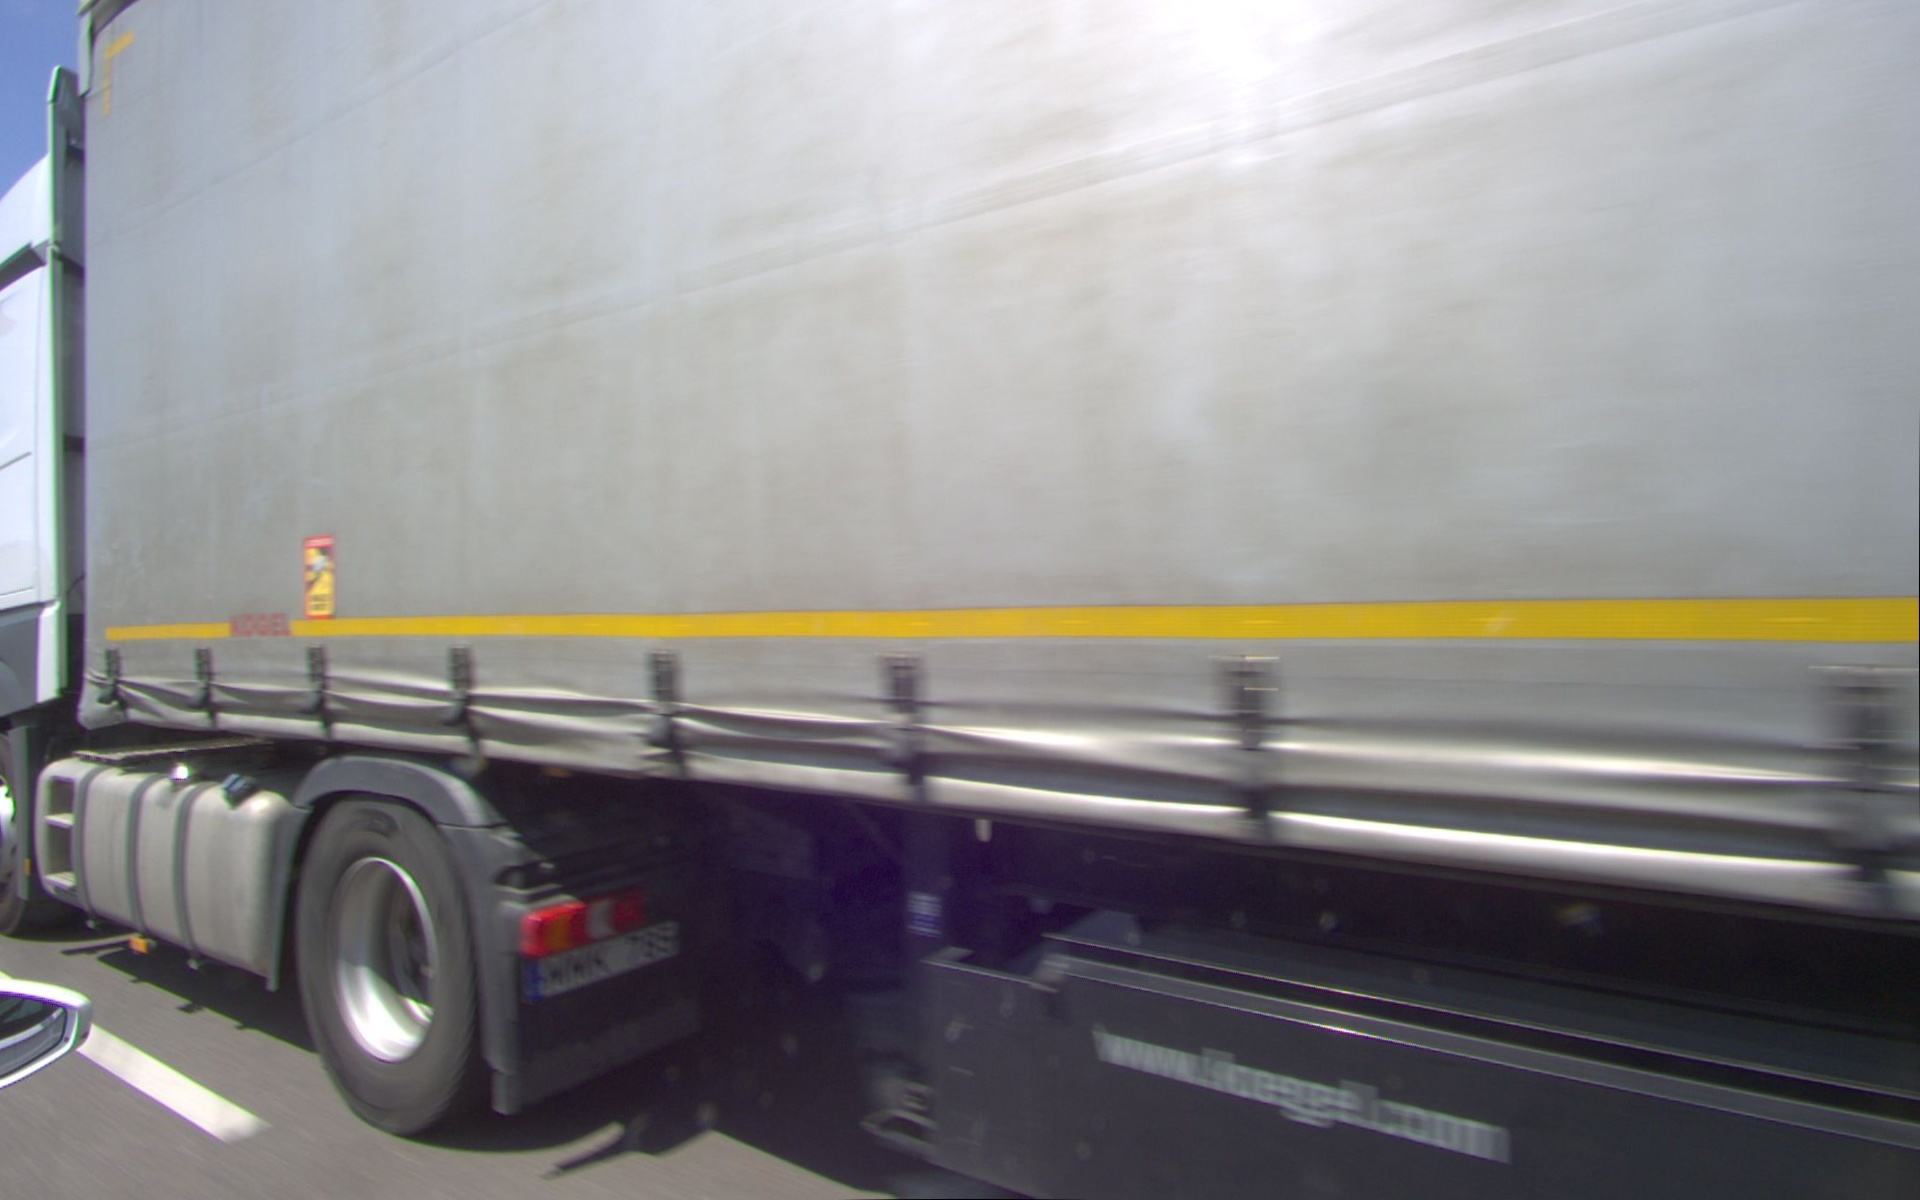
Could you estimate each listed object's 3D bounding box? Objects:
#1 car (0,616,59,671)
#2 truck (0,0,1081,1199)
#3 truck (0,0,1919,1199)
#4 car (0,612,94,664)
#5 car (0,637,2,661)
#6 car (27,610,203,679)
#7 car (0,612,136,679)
[{"bbox_3d":[-30.325,1.428,30.364,1.961,1.574,4.734,-1,2,-5],"label":"car"},{"bbox_3d":[-2.871,-0.456,5.198,6.237,4.064,2.966,-1,2,32],"label":"truck"},{"bbox_3d":[2.535,-0.596,1.731,13.922,4.064,2.966,-1,2,33],"label":"truck"},{"bbox_3d":[-35.633,1.471,37.729,4.070,1.737,1.852,-4,2,-10],"label":"car"},{"bbox_3d":[-32.774,1.469,31.024,1.712,1.429,4.471,-1,4,2],"label":"car"},{"bbox_3d":[-25.413,1.276,30.332,1.848,1.715,4.181,-1,2,-3],"label":"car"},{"bbox_3d":[-27.796,1.341,30.607,1.848,1.715,4.171,-1,2,-3],"label":"car"}]
